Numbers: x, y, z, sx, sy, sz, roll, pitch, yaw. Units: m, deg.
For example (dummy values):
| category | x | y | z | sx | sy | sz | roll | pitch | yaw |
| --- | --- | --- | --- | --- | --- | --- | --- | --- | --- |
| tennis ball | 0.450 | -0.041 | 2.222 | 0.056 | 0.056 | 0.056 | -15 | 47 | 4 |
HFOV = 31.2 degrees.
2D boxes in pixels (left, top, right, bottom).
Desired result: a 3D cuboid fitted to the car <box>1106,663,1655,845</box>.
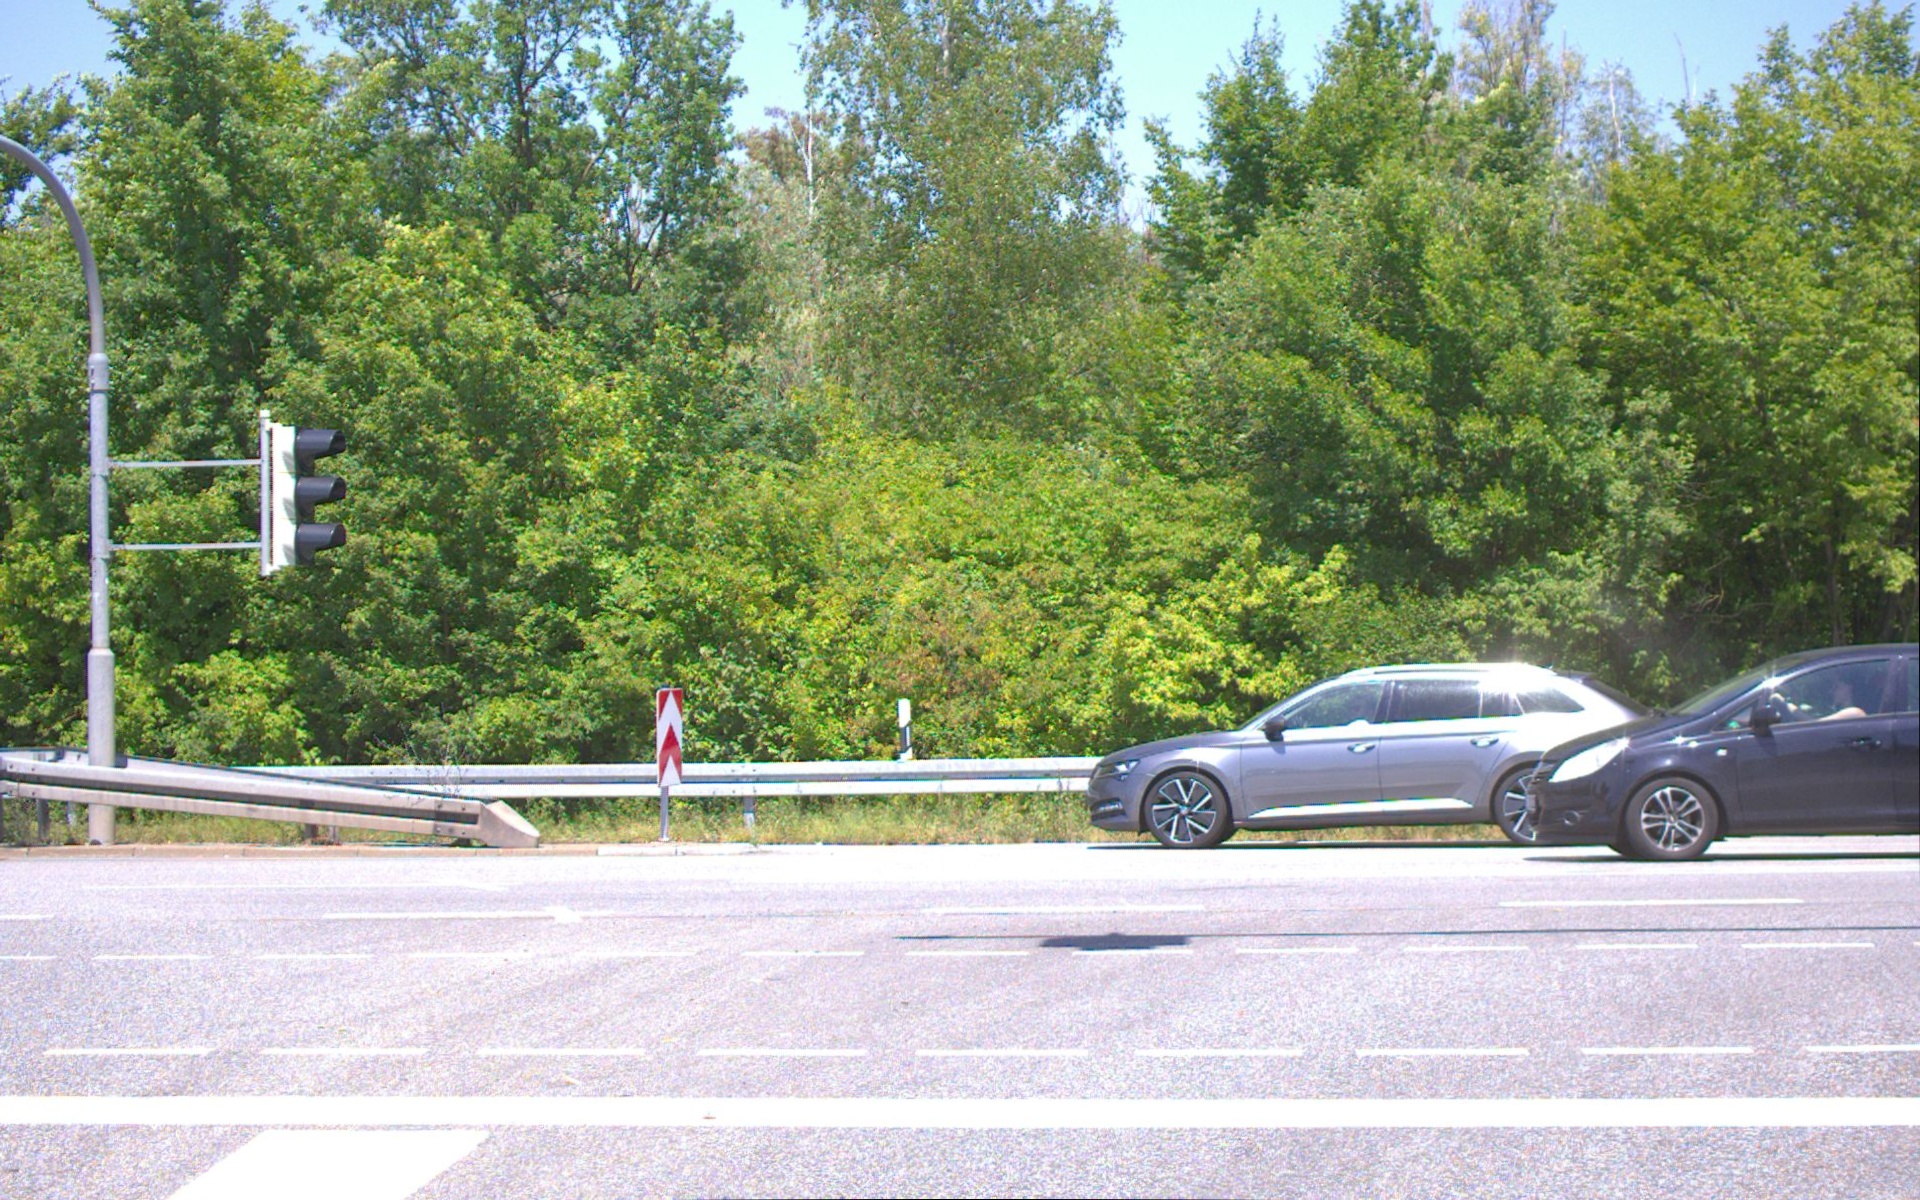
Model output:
| category | x | y | z | sx | sy | sz | roll | pitch | yaw |
| --- | --- | --- | --- | --- | --- | --- | --- | --- | --- |
| car | 3.516 | 1.283 | 28.697 | 4.400 | 1.429 | 1.811 | 0 | -3 | 9 |

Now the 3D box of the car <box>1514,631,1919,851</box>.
| category | x | y | z | sx | sy | sz | roll | pitch | yaw |
| --- | --- | --- | --- | --- | --- | --- | --- | --- | --- |
| car | 5.894 | 0.984 | 23.663 | 3.916 | 1.429 | 1.811 | 1 | -3 | 3 |
